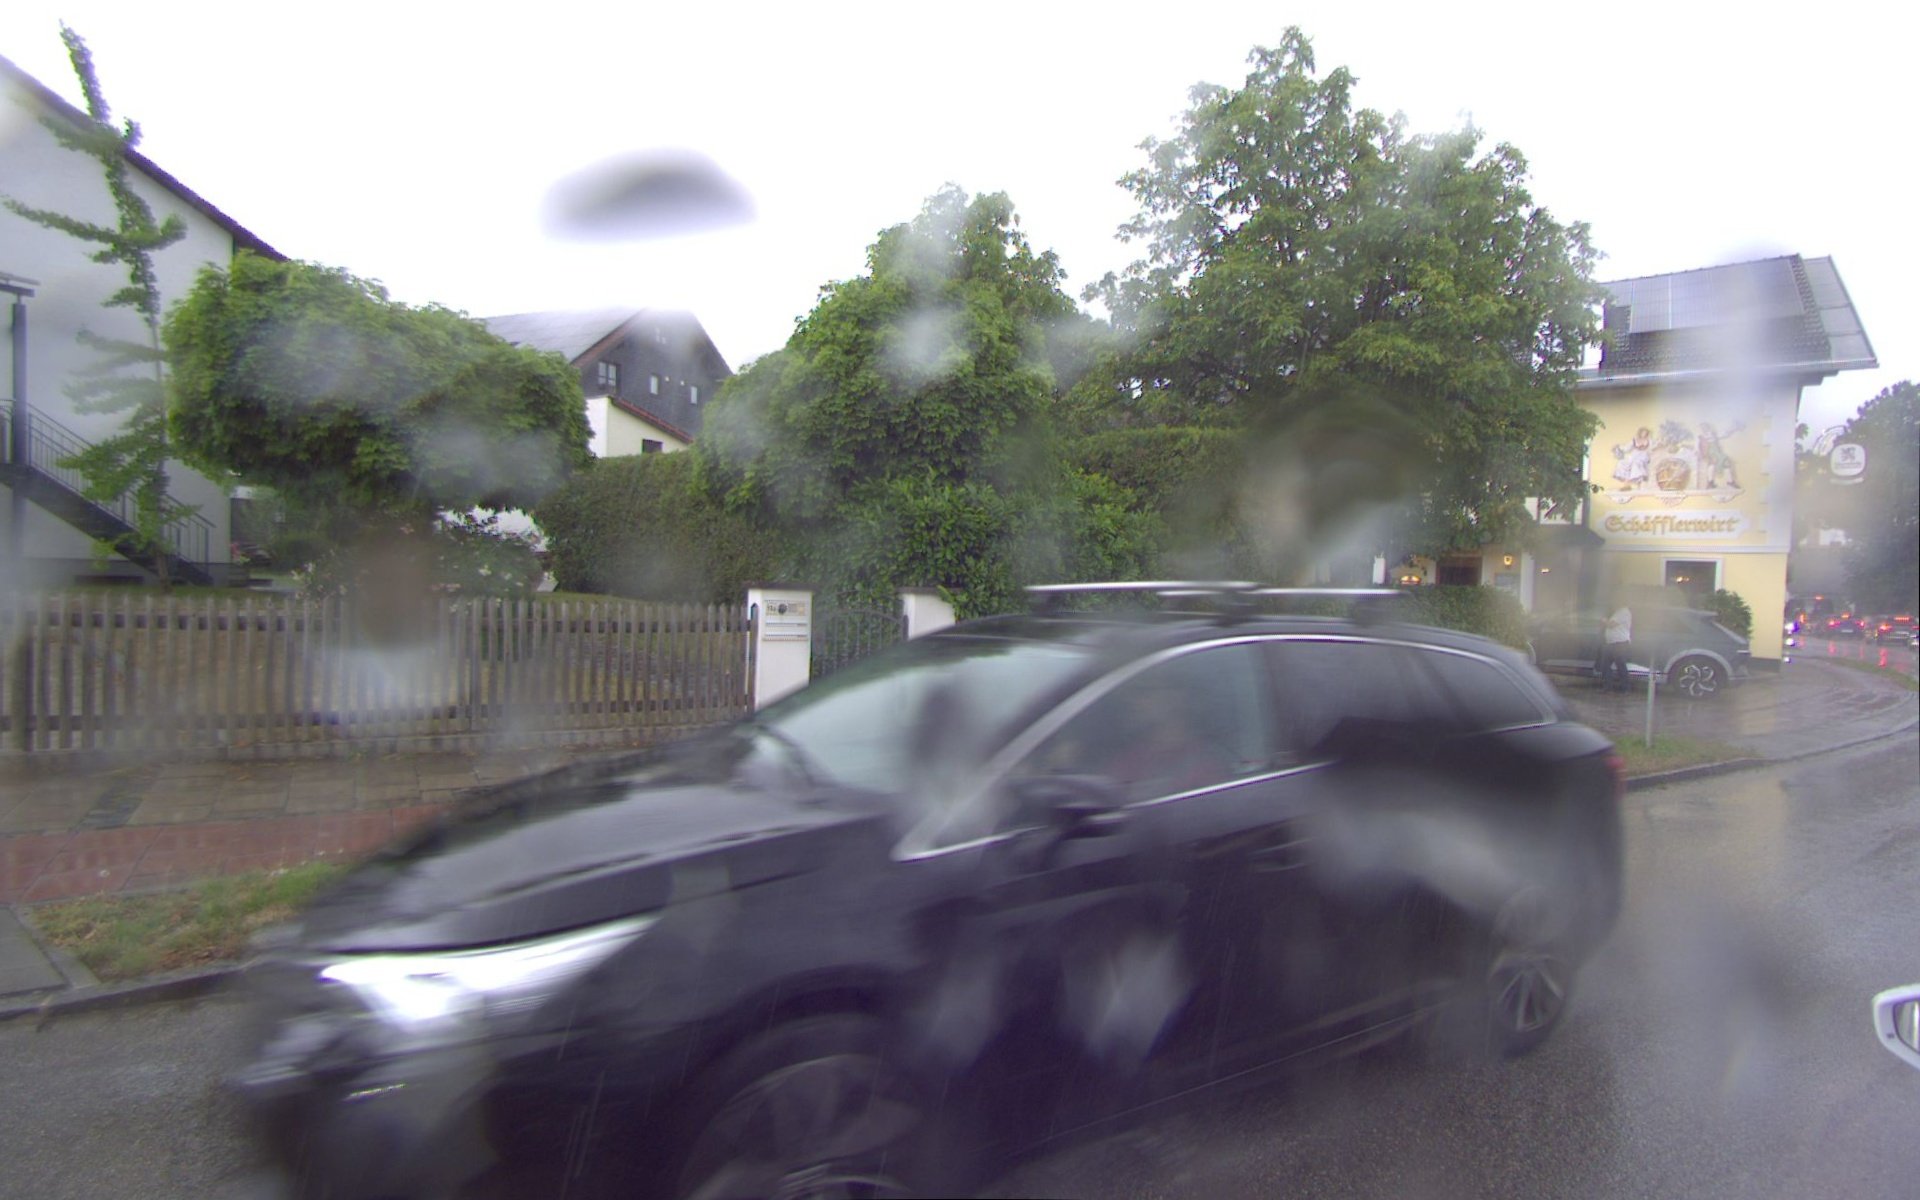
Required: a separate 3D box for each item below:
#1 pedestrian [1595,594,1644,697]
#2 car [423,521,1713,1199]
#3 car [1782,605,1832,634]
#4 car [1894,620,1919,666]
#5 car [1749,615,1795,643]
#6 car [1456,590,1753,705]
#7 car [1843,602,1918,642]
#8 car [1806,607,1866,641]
[{"bbox_3d":[11.441,0.774,17.434,0.544,1.712,0.491,5,4,29],"label":"pedestrian"},{"bbox_3d":[0.584,0.687,3.353,4.139,1.541,1.630,1,-1,-30],"label":"car"},{"bbox_3d":[61.984,1.380,73.545,2.139,1.925,4.999,3,2,33],"label":"car"},{"bbox_3d":[44.601,1.992,45.717,2.139,1.925,4.999,3,2,33],"label":"car"},{"bbox_3d":[52.918,1.877,65.532,1.896,1.767,4.181,0,-1,33],"label":"car"},{"bbox_3d":[11.964,0.788,18.953,4.413,1.589,1.834,6,5,32],"label":"car"},{"bbox_3d":[49.502,1.131,54.136,2.139,1.925,4.999,3,2,33],"label":"car"},{"bbox_3d":[55.665,1.511,63.903,2.139,1.925,4.999,3,2,33],"label":"car"}]
